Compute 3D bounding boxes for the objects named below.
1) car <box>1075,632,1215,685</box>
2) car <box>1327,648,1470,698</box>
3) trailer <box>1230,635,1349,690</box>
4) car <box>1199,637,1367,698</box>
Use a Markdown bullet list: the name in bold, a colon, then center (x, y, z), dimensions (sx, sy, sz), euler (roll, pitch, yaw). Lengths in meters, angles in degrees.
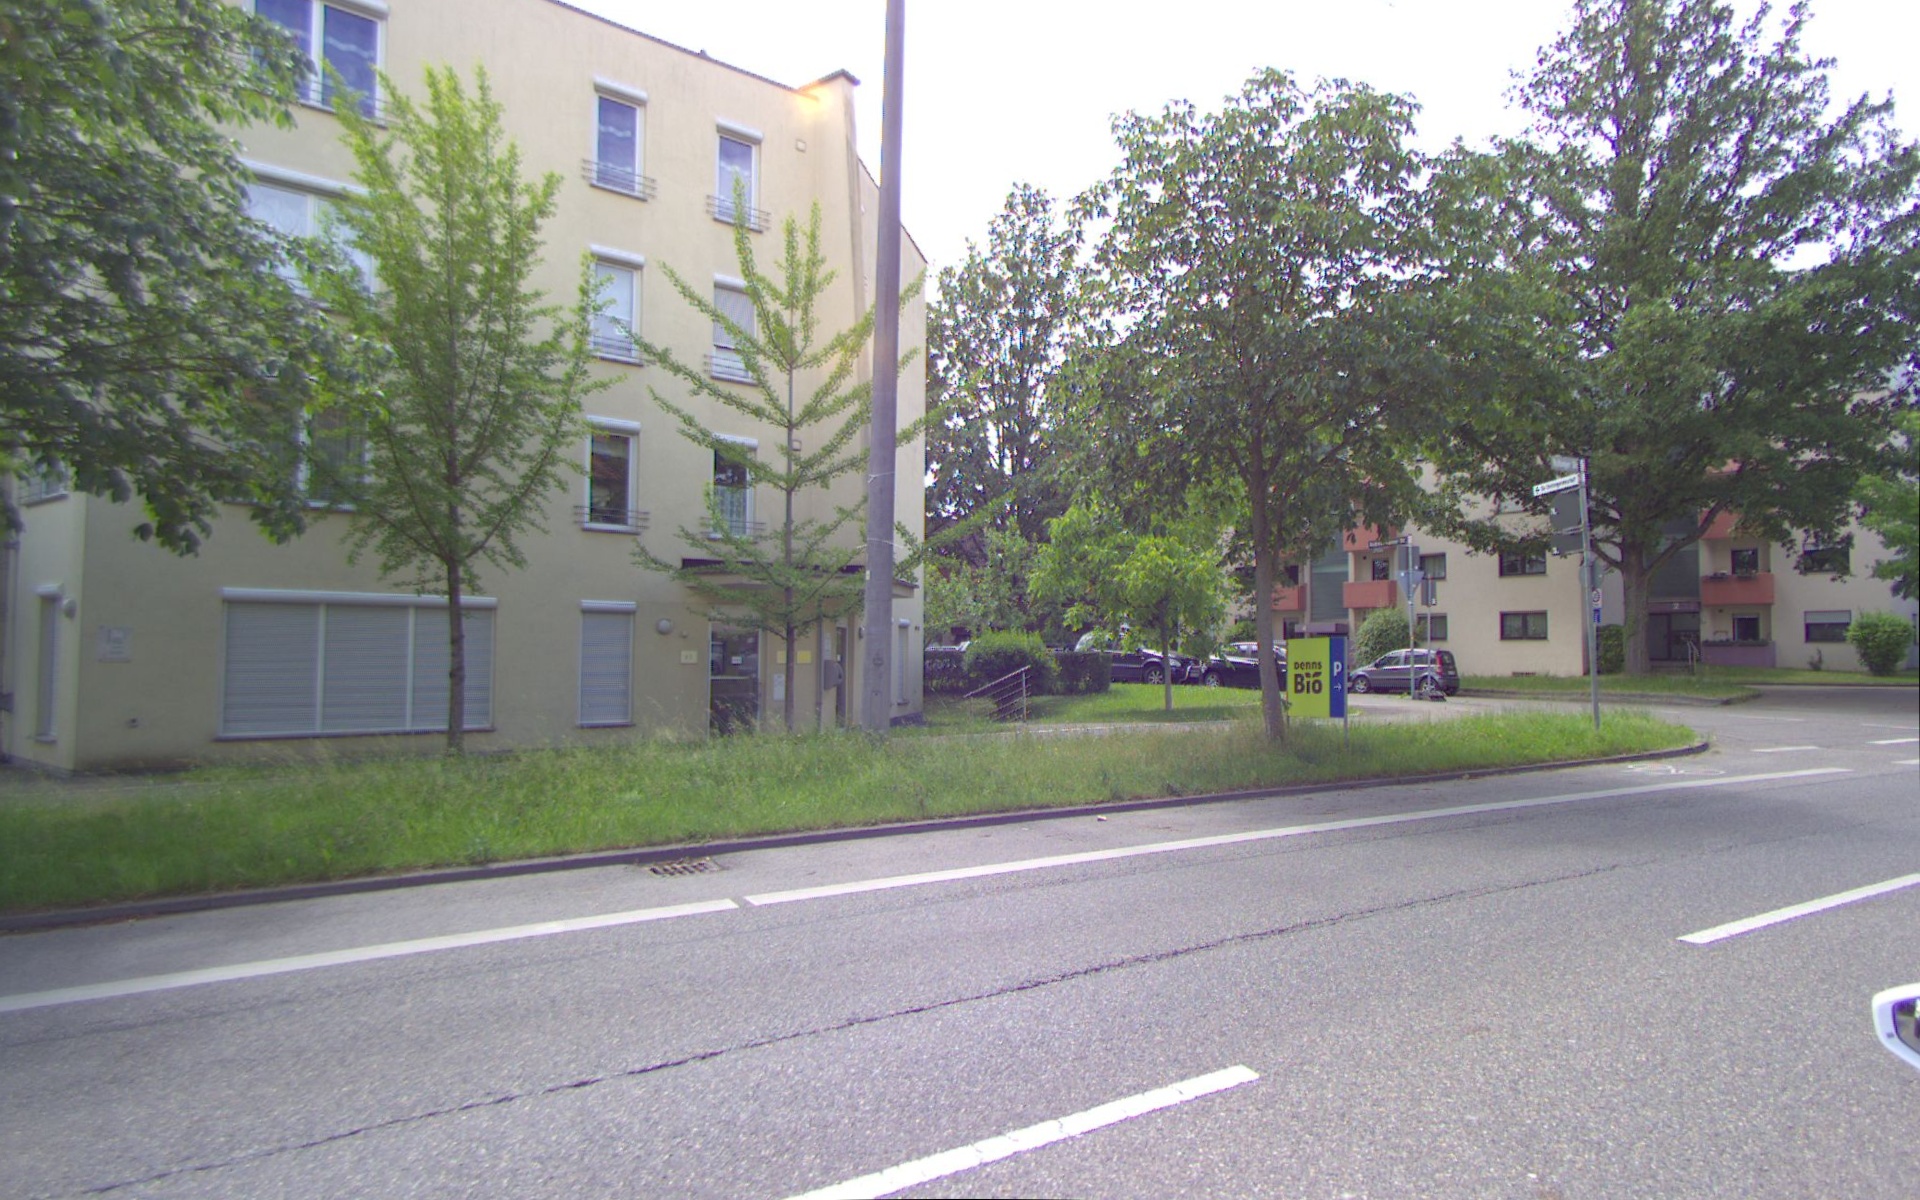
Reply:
- **car**: center (5.697, 1.806, 31.336), dimensions (1.884, 1.543, 4.145), euler (2, -4, -37)
- **car**: center (14.692, 2.431, 33.806), dimensions (1.779, 1.417, 4.048), euler (6, -5, -37)
- **trailer**: center (12.166, 2.308, 37.254), dimensions (1.618, 1.821, 3.875), euler (7, -5, -39)
- **car**: center (8.663, 1.783, 27.208), dimensions (1.779, 1.417, 4.048), euler (6, -5, -37)
